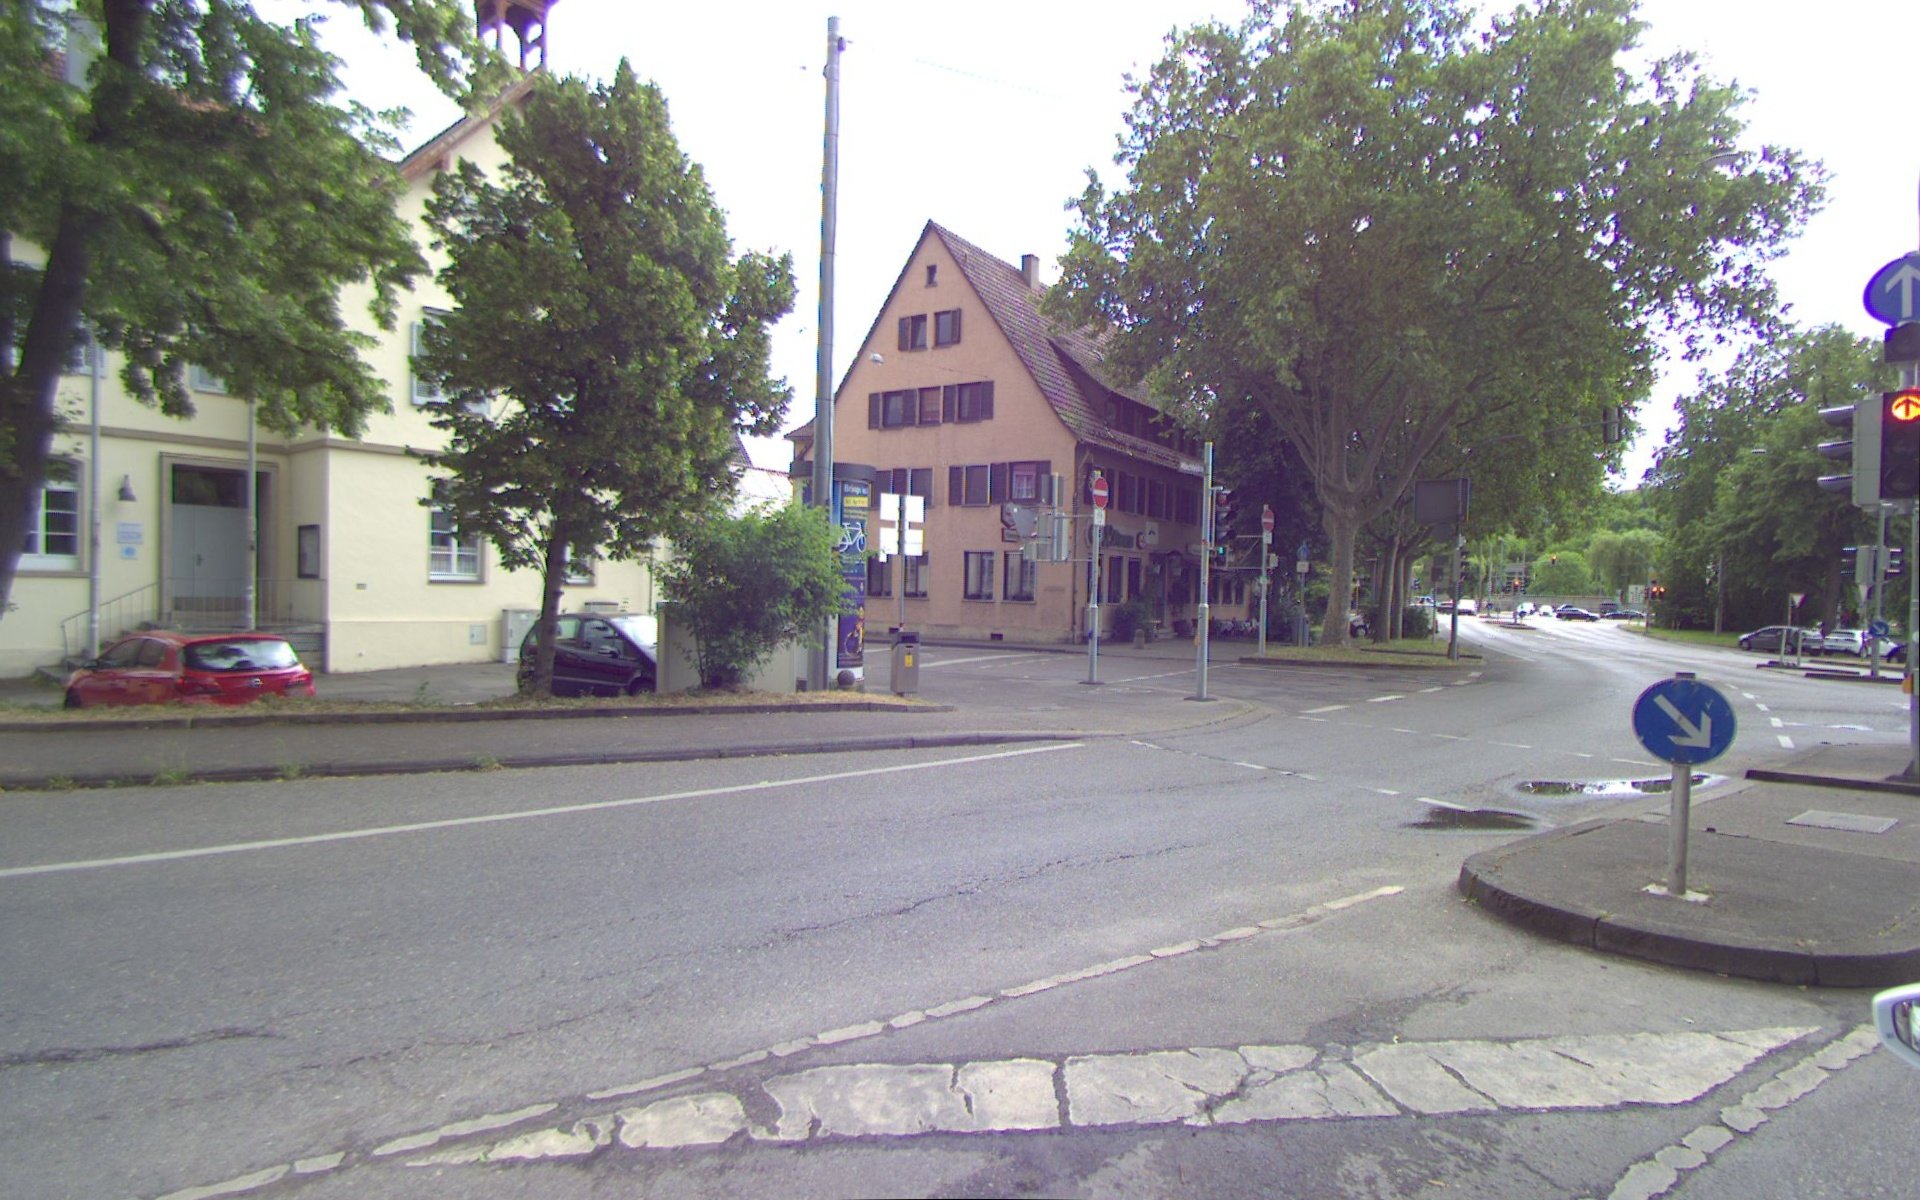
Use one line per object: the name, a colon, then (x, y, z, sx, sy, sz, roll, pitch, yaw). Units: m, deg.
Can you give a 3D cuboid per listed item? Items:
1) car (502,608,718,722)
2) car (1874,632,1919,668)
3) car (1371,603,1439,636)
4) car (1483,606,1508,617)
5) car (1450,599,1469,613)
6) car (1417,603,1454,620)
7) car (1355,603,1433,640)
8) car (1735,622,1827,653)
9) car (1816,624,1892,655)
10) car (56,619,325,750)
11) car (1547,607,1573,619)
car: (-5.765, 1.004, 16.598, 3.035, 1.654, 1.607, 2, 0, 22)
car: (39.568, 2.077, 40.949, 1.442, 1.412, 3.596, 2, 0, 3)
car: (25.468, 1.086, 57.471, 3.387, 1.765, 1.570, 2, 0, 28)
car: (100.714, 2.130, 188.940, 3.928, 2.040, 1.996, 2, 0, 30)
car: (53.962, 0.652, 108.485, 1.404, 1.435, 2.872, 1, -1, 19)
car: (61.760, 1.443, 130.494, 1.852, 2.040, 3.946, 2, 0, -45)
car: (21.407, 1.047, 49.587, 3.387, 1.663, 1.570, 2, 0, 28)
car: (43.862, 1.968, 53.764, 1.559, 1.484, 3.543, 2, 0, -17)
car: (47.300, 2.082, 53.165, 3.342, 1.484, 1.543, 2, 0, -19)
car: (-10.176, 1.011, 13.250, 3.492, 1.397, 1.605, 2, 0, 30)
car: (108.228, 2.319, 181.094, 3.928, 2.040, 1.996, 2, 0, 30)
